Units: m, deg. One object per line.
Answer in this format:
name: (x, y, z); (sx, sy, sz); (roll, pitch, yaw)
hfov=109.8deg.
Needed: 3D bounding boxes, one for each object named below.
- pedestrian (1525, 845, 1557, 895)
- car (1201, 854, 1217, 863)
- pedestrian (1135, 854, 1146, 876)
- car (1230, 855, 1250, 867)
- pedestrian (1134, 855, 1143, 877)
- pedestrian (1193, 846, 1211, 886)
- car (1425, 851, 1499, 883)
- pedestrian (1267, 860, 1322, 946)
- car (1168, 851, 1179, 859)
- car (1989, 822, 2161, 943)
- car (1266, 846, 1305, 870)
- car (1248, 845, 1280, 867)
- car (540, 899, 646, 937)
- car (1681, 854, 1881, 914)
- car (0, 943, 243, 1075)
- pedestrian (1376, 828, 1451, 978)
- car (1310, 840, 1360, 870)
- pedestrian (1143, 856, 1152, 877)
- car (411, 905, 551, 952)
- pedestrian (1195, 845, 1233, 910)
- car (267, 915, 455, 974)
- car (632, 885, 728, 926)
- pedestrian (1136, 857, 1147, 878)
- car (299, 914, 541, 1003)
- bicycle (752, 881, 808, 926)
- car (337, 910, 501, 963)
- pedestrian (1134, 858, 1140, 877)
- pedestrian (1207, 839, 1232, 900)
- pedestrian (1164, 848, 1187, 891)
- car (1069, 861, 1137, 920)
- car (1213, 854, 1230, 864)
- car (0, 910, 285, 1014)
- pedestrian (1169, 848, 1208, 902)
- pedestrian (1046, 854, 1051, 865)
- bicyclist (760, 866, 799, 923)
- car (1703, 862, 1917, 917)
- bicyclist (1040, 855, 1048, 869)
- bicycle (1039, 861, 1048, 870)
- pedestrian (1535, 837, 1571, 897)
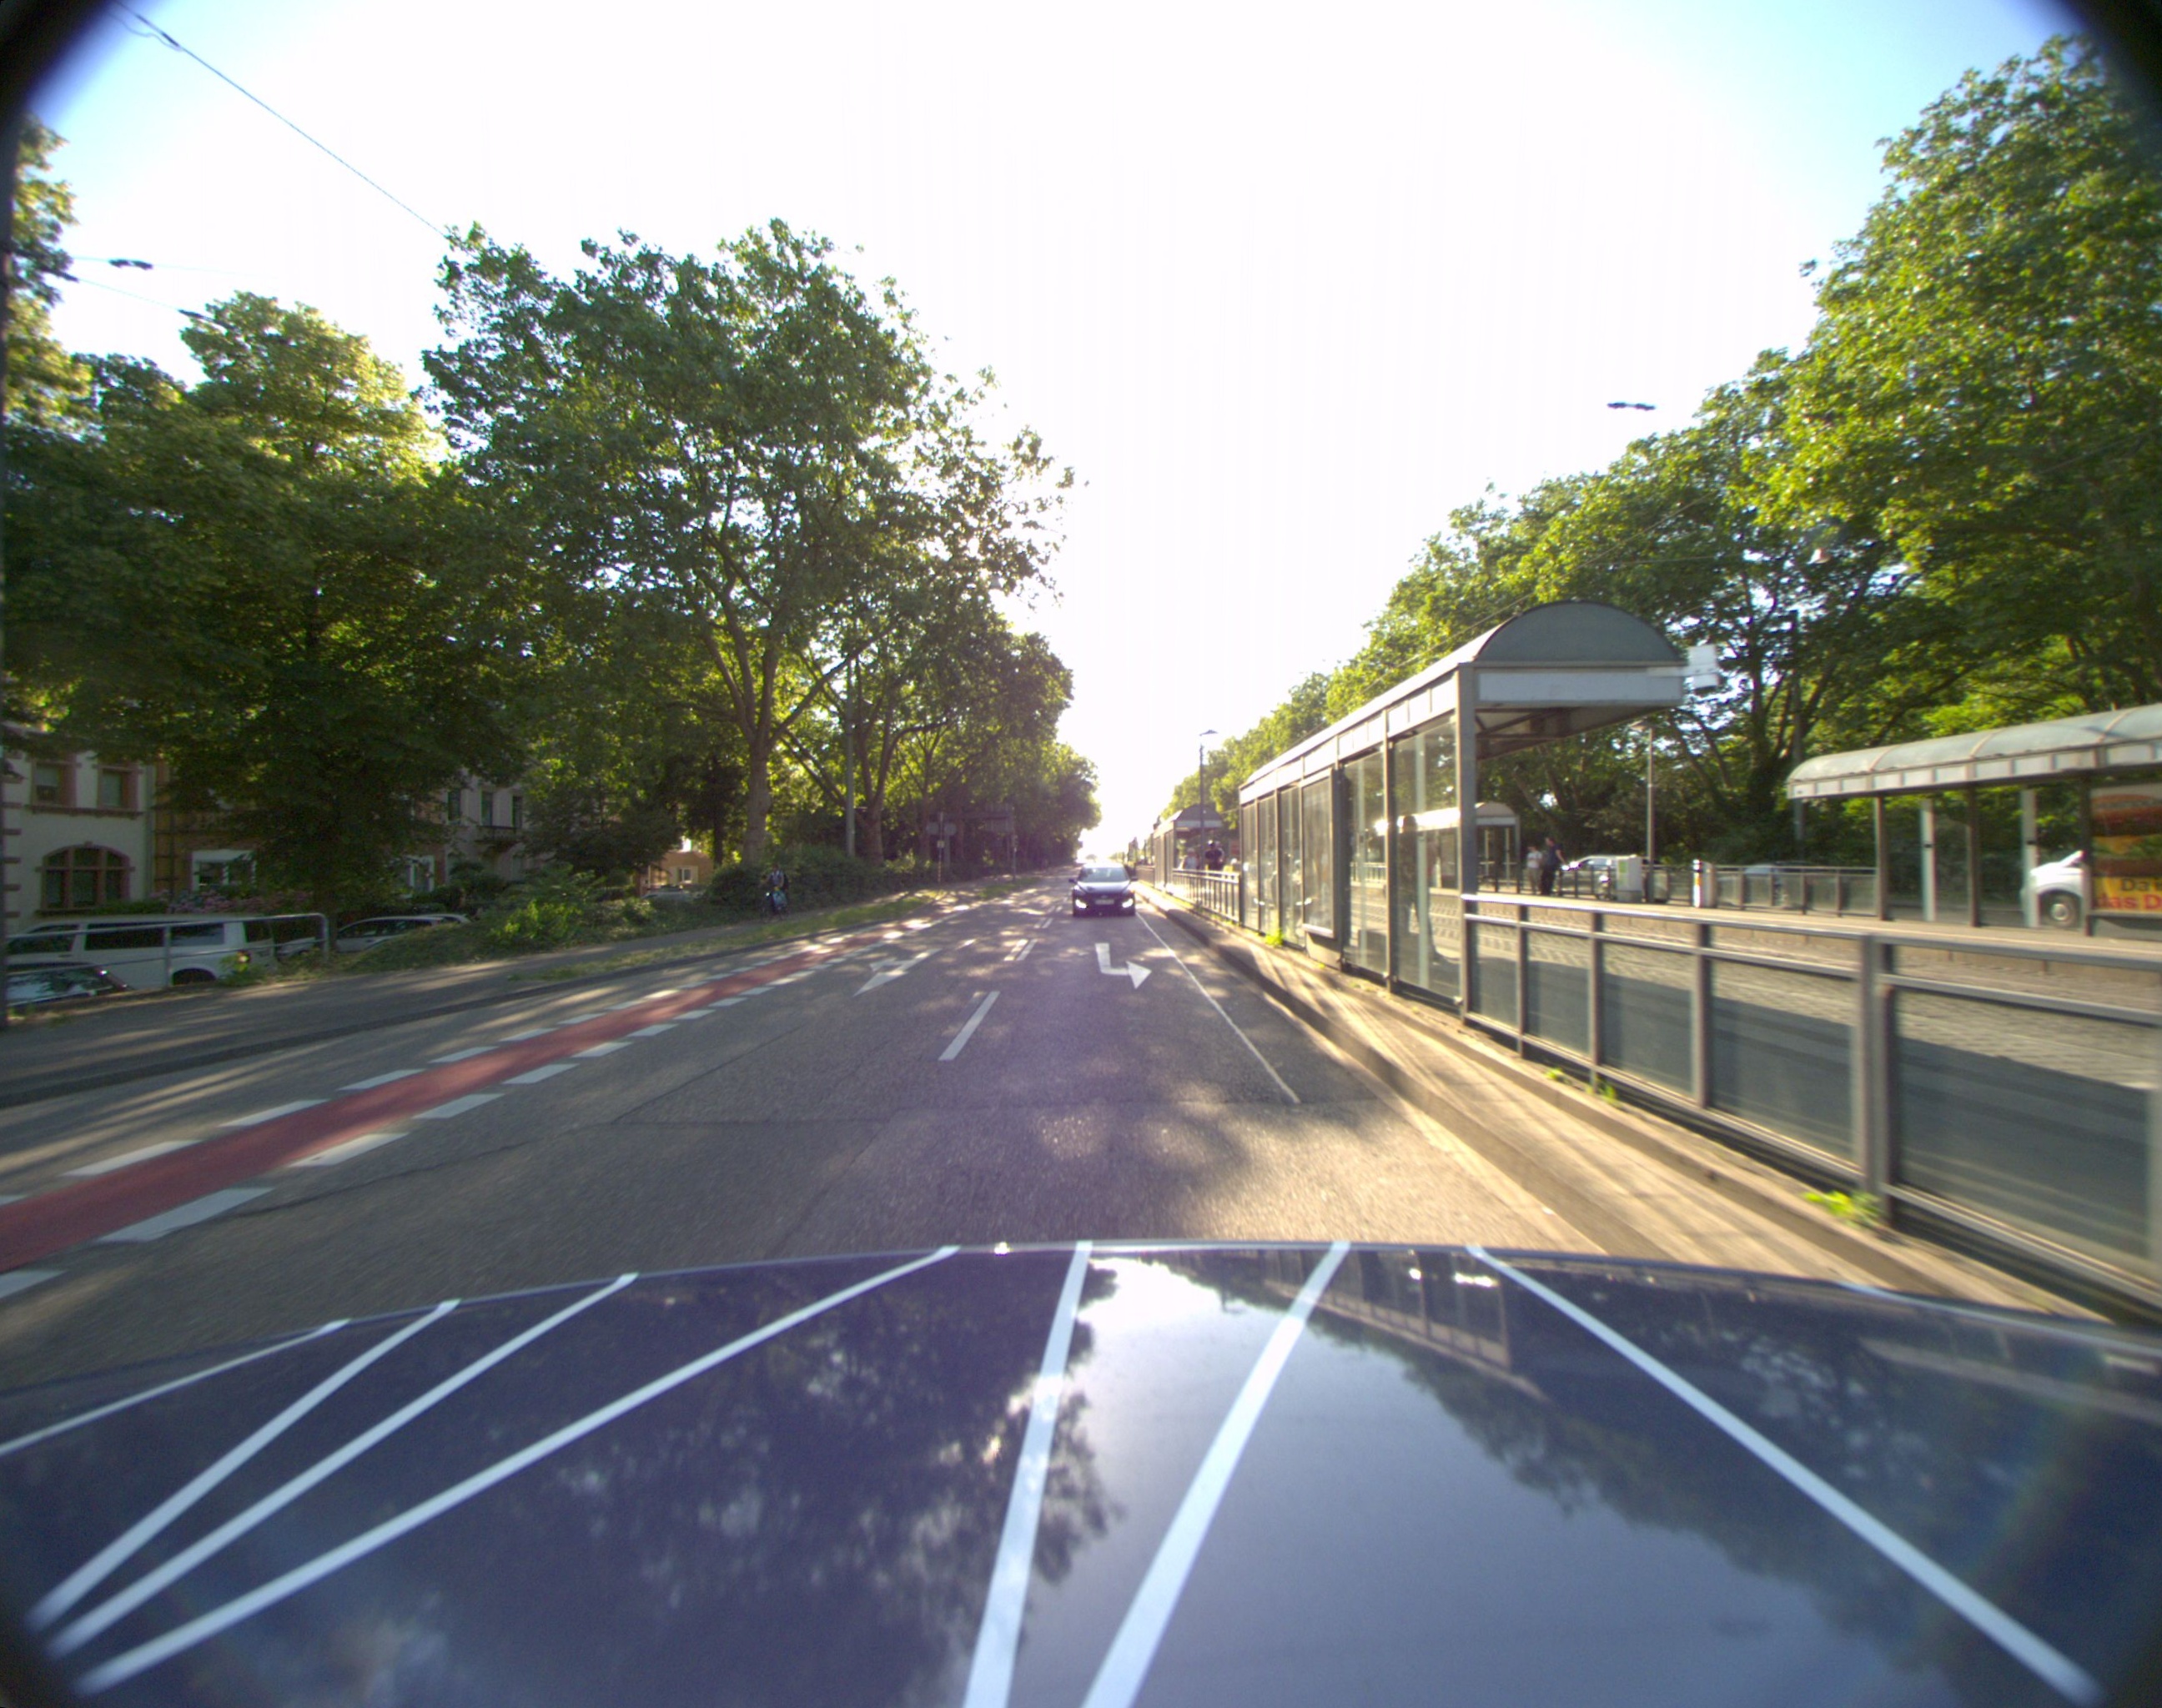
pedestrian: (14.370, 0.485, 23.751); (0.594, 1.535, 0.627); (-2, 1, 1)
car: (20.958, 0.665, 124.748); (1.832, 1.428, 4.323); (1, 1, -1)
pedestrian: (4.235, 0.786, 54.151); (0.520, 1.559, 0.509); (2, 1, 31)
car: (21.244, 0.949, 101.844); (1.743, 1.546, 3.881); (1, 1, -1)
pedestrian: (4.034, 0.828, 53.477); (0.591, 1.510, 0.514); (1, 1, 2)
pedestrian: (4.843, 0.485, 30.418); (0.589, 1.558, 0.650); (-2, 1, 2)
car: (20.658, 0.658, 41.361); (1.908, 1.642, 3.971); (1, 1, -2)
pedestrian: (3.349, 0.752, 11.979); (0.680, 1.301, 0.593); (-2, 1, 2)
car: (21.108, 0.235, 173.424); (1.832, 1.830, 4.393); (1, 1, -1)
car: (19.954, 0.515, 13.241); (2.072, 2.112, 5.089); (1, 1, -1)
car: (21.644, 0.382, 80.750); (2.189, 2.506, 6.270); (1, 1, -2)
car: (21.339, 0.215, 88.798); (2.189, 2.506, 6.049); (1, 1, -1)
car: (-22.312, 2.915, 34.914); (4.007, 1.501, 1.796); (1, -1, -31)
car: (20.165, 0.790, 22.203); (1.799, 1.501, 4.340); (1, 1, -1)
car: (-14.471, 2.140, 10.274); (1.799, 1.301, 3.999); (-2, 1, -1)
pedestrian: (3.821, 0.550, 8.767); (0.596, 1.668, 0.589); (-2, 1, 6)
car: (21.910, 0.066, 65.794); (2.189, 2.506, 6.031); (1, 1, -1)
pedestrian: (4.690, 0.900, 53.612); (0.521, 1.463, 0.514); (1, 1, 2)
car: (-22.830, 2.804, 29.134); (4.007, 1.501, 1.796); (1, -1, -31)
pedestrian: (3.583, 0.623, 20.501); (0.654, 1.712, 0.708); (-3, 1, -35)
car: (-21.820, 2.703, 23.259); (3.932, 1.443, 1.685); (1, -1, -33)
car: (-21.677, 2.729, 41.139); (4.471, 2.002, 1.992); (0, -1, -29)
pedestrian: (4.181, 0.908, 52.389); (0.592, 1.398, 0.558); (1, 1, -19)
car: (-14.265, 2.197, 16.768); (1.799, 1.301, 3.999); (-2, 1, -1)
bicycle: (-8.191, 1.320, 20.744); (0.768, 1.101, 1.800); (-1, 0, 1)
car: (-22.544, 2.769, 26.105); (4.007, 1.501, 1.796); (1, -1, -31)
pedestrian: (3.890, 0.949, 52.955); (0.417, 1.313, 0.359); (1, 1, 1)
pedestrian: (4.228, 0.461, 23.200); (0.652, 1.831, 0.711); (-2, 1, 11)
pedestrian: (3.777, 0.602, 30.396); (0.744, 1.684, 0.791); (-2, 1, 2)
car: (0.622, 1.008, 22.426); (1.799, 1.501, 4.000); (-2, 0, 1)
car: (21.166, 0.744, 114.367); (1.743, 1.428, 3.851); (1, 1, -1)
car: (-21.756, 2.361, 17.289); (4.691, 1.954, 1.868); (0, -1, -31)
pedestrian: (3.366, 0.639, 23.681); (0.800, 1.624, 0.868); (-3, 0, 39)
pedestrian: (-4.896, 0.849, 116.156); (0.649, 1.626, 0.928); (1, 1, 2)
bicyclist: (-8.188, 1.079, 20.637); (0.768, 1.504, 0.650); (-1, 0, 0)
car: (20.042, 0.907, 21.203); (1.774, 1.284, 4.314); (1, 1, -1)
bicyclist: (-4.393, 0.949, 89.195); (0.700, 1.718, 1.081); (-1, 0, 9)
bicycle: (-4.385, 1.345, 89.197); (0.700, 1.101, 1.931); (-1, 0, 9)
pedestrian: (14.304, 0.383, 23.043); (0.649, 1.762, 0.650); (-2, 1, 3)
